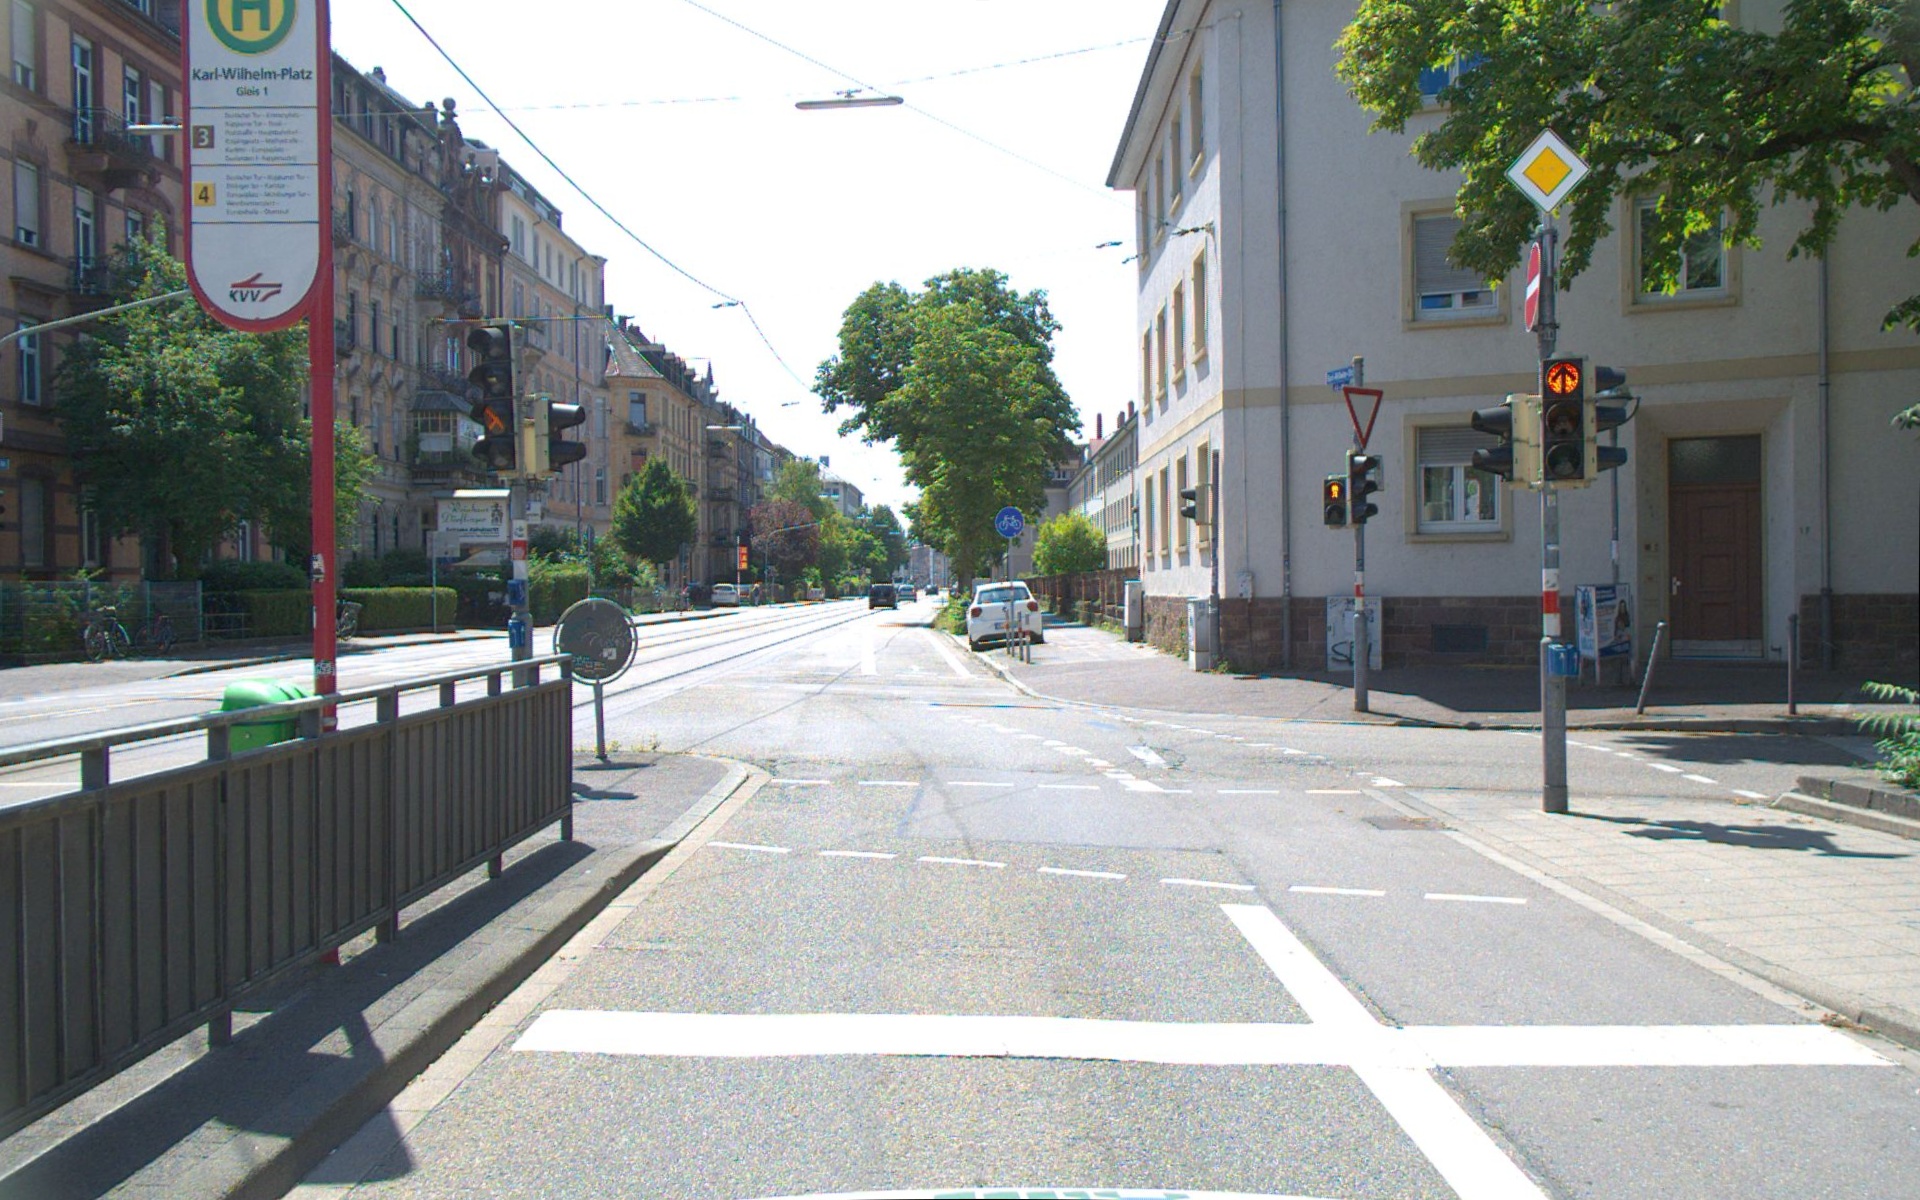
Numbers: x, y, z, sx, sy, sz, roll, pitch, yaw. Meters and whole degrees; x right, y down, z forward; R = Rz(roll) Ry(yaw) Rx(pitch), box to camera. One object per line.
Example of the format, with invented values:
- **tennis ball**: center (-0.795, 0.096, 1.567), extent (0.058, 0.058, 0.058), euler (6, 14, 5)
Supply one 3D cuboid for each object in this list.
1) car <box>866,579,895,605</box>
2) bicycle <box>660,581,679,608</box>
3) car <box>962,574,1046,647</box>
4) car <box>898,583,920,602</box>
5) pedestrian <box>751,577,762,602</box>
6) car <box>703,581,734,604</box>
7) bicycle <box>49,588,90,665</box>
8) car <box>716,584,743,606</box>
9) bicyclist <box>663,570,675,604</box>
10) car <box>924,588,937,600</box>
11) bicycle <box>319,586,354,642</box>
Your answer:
- **car**: center (-4.719, -0.453, 98.067), extent (1.493, 1.469, 3.364), euler (-2, 0, 0)
- **bicycle**: center (-15.272, -0.296, 86.987), extent (0.565, 1.412, 2.501), euler (0, 0, -1)
- **car**: center (0.974, 0.225, 38.678), extent (1.712, 1.498, 3.937), euler (-4, 0, -1)
- **car**: center (-4.338, -0.606, 141.330), extent (1.712, 1.498, 3.937), euler (-4, 0, -1)
- **pedestrian**: center (-14.277, -0.719, 116.176), extent (0.664, 1.758, 0.677), euler (0, 0, -1)
- **car**: center (-17.043, -0.537, 116.908), extent (1.651, 1.498, 3.936), euler (-4, 0, -3)
- **bicycle**: center (-17.022, 0.489, 31.641), extent (0.607, 1.420, 2.288), euler (0, 0, -26)
- **car**: center (-17.420, -0.375, 125.284), extent (1.596, 1.498, 3.562), euler (-4, 0, -3)
- **bicyclist**: center (-15.279, -0.665, 86.933), extent (0.531, 1.794, 0.498), euler (0, 0, -1)
- **car**: center (-4.114, -0.823, 232.670), extent (1.596, 1.498, 3.562), euler (-4, 0, -3)
- **bicycle**: center (-15.822, 0.348, 41.949), extent (0.584, 1.380, 2.419), euler (0, 0, -26)
